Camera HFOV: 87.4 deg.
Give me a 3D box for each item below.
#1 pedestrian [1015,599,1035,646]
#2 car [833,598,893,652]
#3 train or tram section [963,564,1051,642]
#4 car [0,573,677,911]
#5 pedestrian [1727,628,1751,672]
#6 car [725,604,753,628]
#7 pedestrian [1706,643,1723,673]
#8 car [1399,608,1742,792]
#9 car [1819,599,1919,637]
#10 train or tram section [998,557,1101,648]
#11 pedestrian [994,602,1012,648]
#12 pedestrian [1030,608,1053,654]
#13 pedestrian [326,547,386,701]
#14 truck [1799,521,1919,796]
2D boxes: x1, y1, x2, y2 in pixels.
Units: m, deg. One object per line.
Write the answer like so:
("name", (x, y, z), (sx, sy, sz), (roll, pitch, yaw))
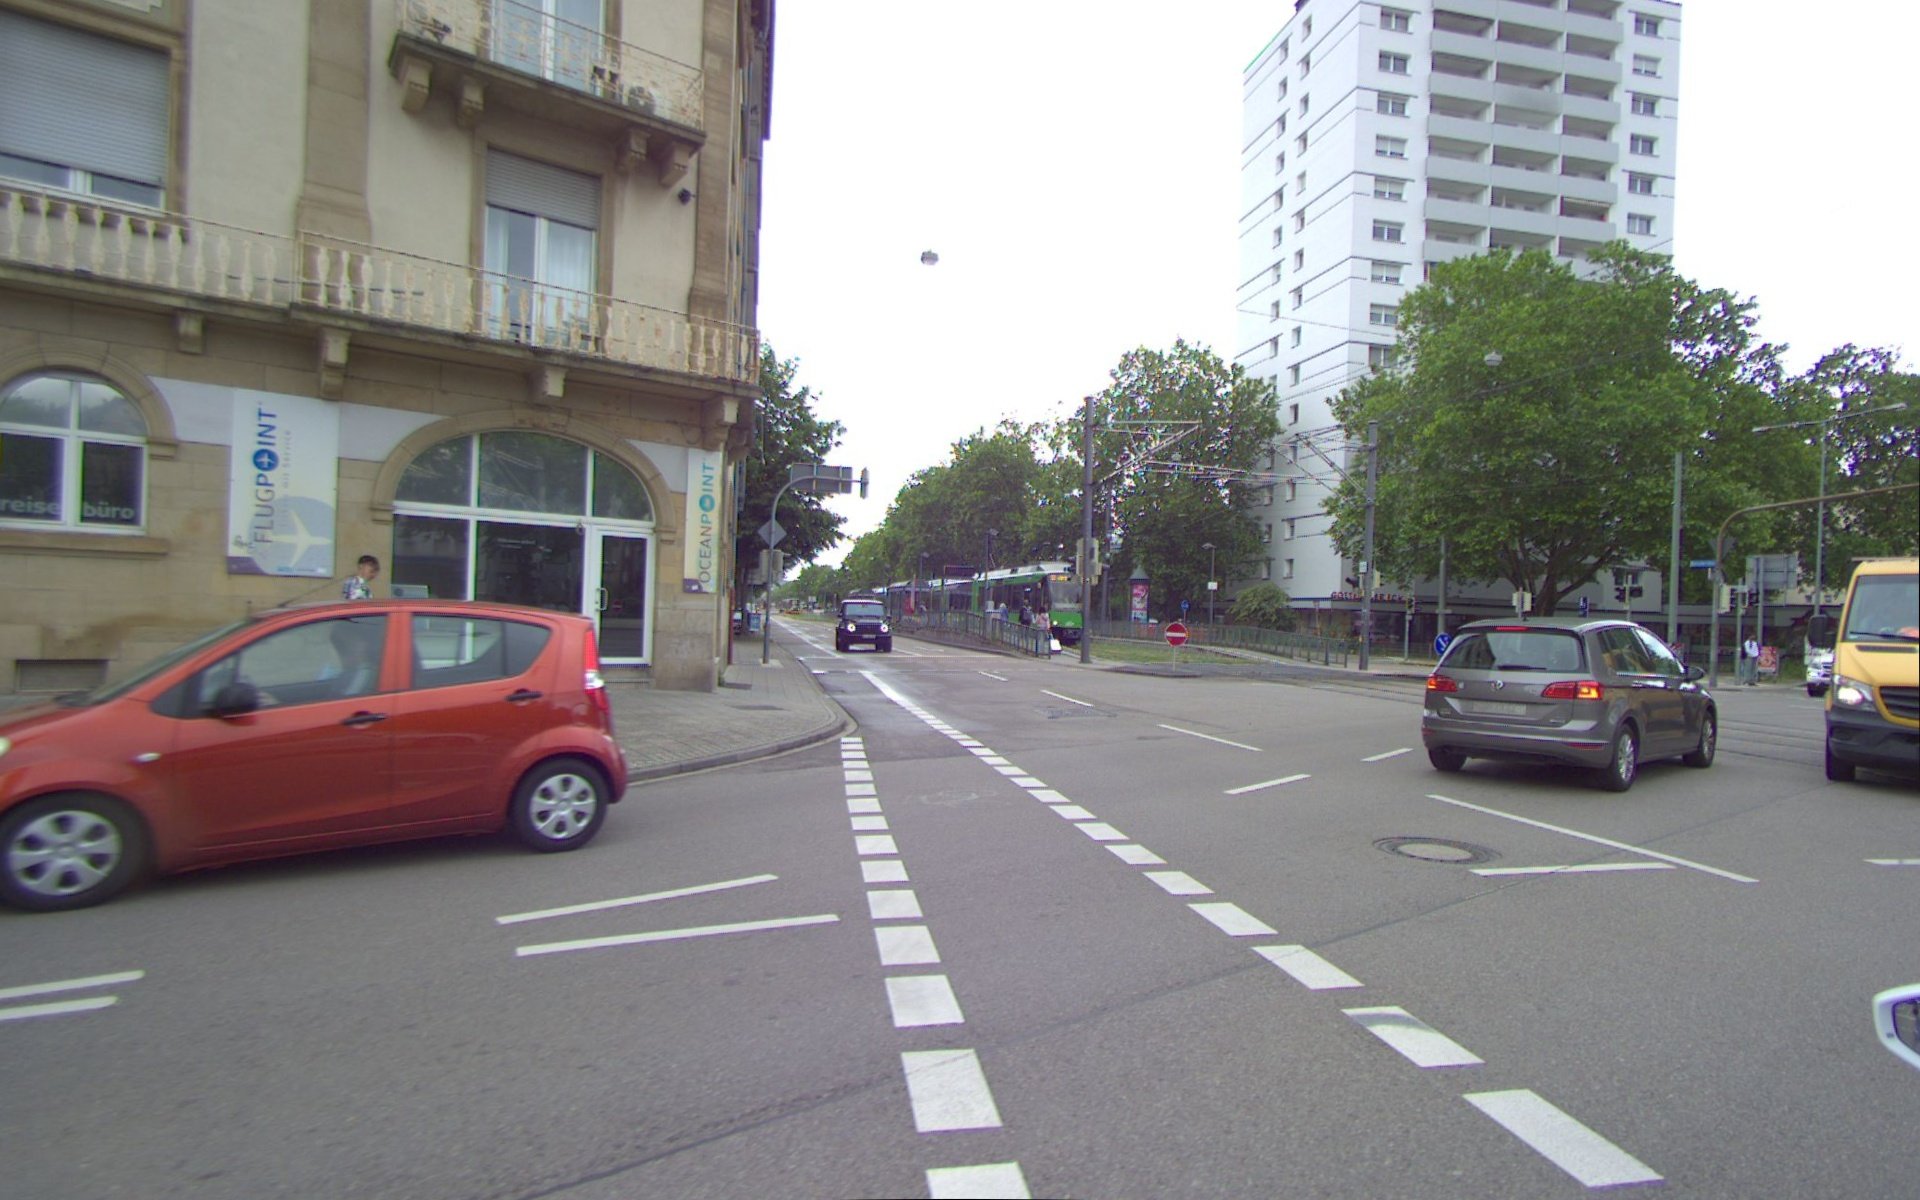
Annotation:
("pedestrian", (2.663, 0.907, 41.239), (0.578, 1.889, 0.732), (2, 0, -12))
("car", (-3.848, 0.949, 39.295), (1.662, 1.939, 3.987), (2, -1, -15))
("train or tram section", (2.364, 0.219, 54.312), (2.639, 3.811, 8.280), (2, -1, -12))
("car", (-3.957, 0.687, 6.056), (3.967, 1.545, 1.718), (2, -1, -40))
("pedestrian", (32.469, 2.078, 41.880), (0.612, 1.809, 0.572), (2, 0, -27))
("car", (-15.698, 1.123, 71.242), (1.662, 1.600, 3.987), (2, -1, -15))
("pedestrian", (40.737, 3.133, 54.213), (0.612, 1.565, 0.421), (2, -1, -13))
("car", (6.432, 0.924, 10.429), (3.964, 1.545, 1.719), (2, -1, -37))
("car", (46.825, 0.927, 51.379), (3.925, 1.728, 1.998), (2, -1, 26))
("train or tram section", (4.001, 0.157, 46.766), (2.639, 3.811, 7.245), (2, -1, -12))
("pedestrian", (1.808, 1.044, 42.260), (0.605, 1.889, 0.480), (2, 0, -12))
("pedestrian", (2.925, 1.103, 36.042), (0.578, 1.624, 0.732), (2, 0, -12))
("pedestrian", (-7.348, 0.288, 12.210), (0.545, 1.809, 0.563), (2, -1, -35))
("truck", (10.598, 0.605, 10.663), (5.426, 2.440, 2.054), (2, -2, -44))
